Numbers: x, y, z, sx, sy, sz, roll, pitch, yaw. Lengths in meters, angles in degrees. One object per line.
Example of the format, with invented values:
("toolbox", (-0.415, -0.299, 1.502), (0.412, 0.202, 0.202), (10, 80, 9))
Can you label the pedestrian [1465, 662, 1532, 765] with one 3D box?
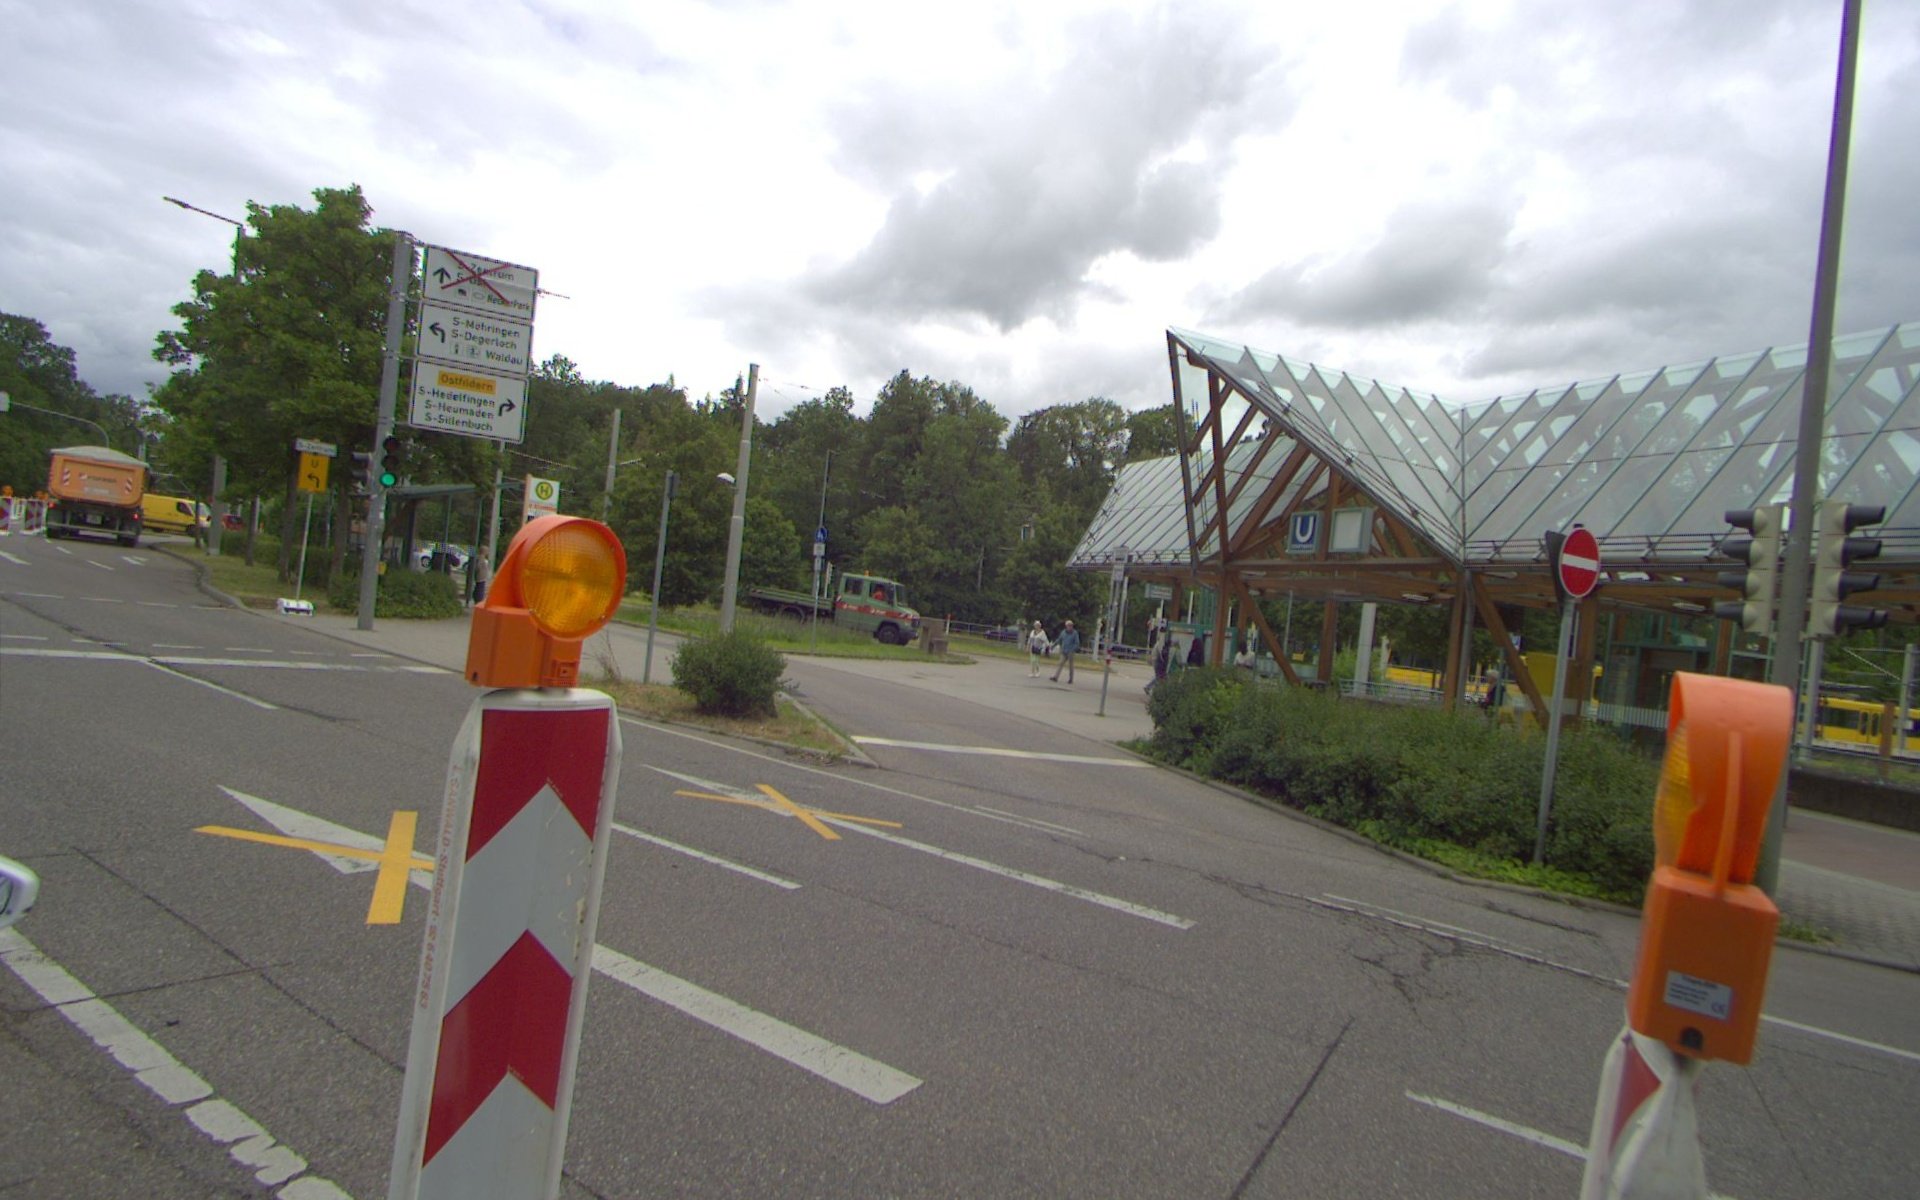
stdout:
("pedestrian", (9.956, 2.080, 18.607), (0.645, 1.778, 0.668), (7, -1, -9))

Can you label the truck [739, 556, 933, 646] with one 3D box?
("truck", (-4.486, 0.077, 36.887), (6.419, 2.379, 2.410), (7, -2, 10))

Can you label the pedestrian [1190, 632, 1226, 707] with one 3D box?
("pedestrian", (6.184, 1.740, 25.074), (0.589, 1.778, 0.668), (7, -1, 22))

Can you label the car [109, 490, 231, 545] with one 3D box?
("car", (-51.107, -5.326, 65.160), (6.036, 2.523, 2.001), (7, -1, -1))

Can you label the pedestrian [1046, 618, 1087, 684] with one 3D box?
("pedestrian", (3.065, 1.452, 28.885), (0.727, 1.778, 0.665), (6, -1, 45))

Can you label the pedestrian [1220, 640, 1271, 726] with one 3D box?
("pedestrian", (6.226, 1.808, 21.952), (0.664, 1.778, 0.648), (8, -1, -44))

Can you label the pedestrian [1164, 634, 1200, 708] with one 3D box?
("pedestrian", (5.608, 1.783, 25.386), (0.589, 1.778, 0.668), (7, -1, 22))

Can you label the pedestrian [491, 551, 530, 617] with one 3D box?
("pedestrian", (-11.017, -0.383, 24.663), (0.471, 1.534, 0.522), (7, -1, 28))

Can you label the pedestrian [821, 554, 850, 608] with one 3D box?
("pedestrian", (-7.637, -1.148, 61.632), (1.093, 3.080, 1.027), (7, -1, 17))

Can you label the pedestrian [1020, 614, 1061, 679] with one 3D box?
("pedestrian", (2.354, 1.367, 29.432), (0.664, 1.778, 0.728), (8, -1, -44))

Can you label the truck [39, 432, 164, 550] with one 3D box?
("truck", (-31.909, -3.992, 37.696), (2.844, 3.558, 8.161), (7, 1, -38))

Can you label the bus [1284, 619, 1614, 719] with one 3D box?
("bus", (29.355, 4.114, 60.773), (18.248, 3.523, 3.978), (8, -2, -5))

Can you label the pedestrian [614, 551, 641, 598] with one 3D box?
("pedestrian", (-17.092, -1.305, 51.652), (0.846, 2.321, 0.617), (7, -1, 17))

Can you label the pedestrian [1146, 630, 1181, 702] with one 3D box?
("pedestrian", (5.307, 1.715, 26.235), (0.655, 1.778, 0.562), (7, -1, 9))

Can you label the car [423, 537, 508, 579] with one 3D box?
("car", (-31.940, -2.687, 65.086), (4.248, 2.037, 2.001), (7, -1, -1))

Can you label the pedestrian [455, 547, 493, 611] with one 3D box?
("pedestrian", (-12.345, -0.524, 25.540), (0.471, 1.534, 0.522), (7, -1, 28))

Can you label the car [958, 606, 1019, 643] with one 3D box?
("car", (1.936, 1.740, 69.833), (3.927, 2.037, 2.001), (7, -1, -1))
